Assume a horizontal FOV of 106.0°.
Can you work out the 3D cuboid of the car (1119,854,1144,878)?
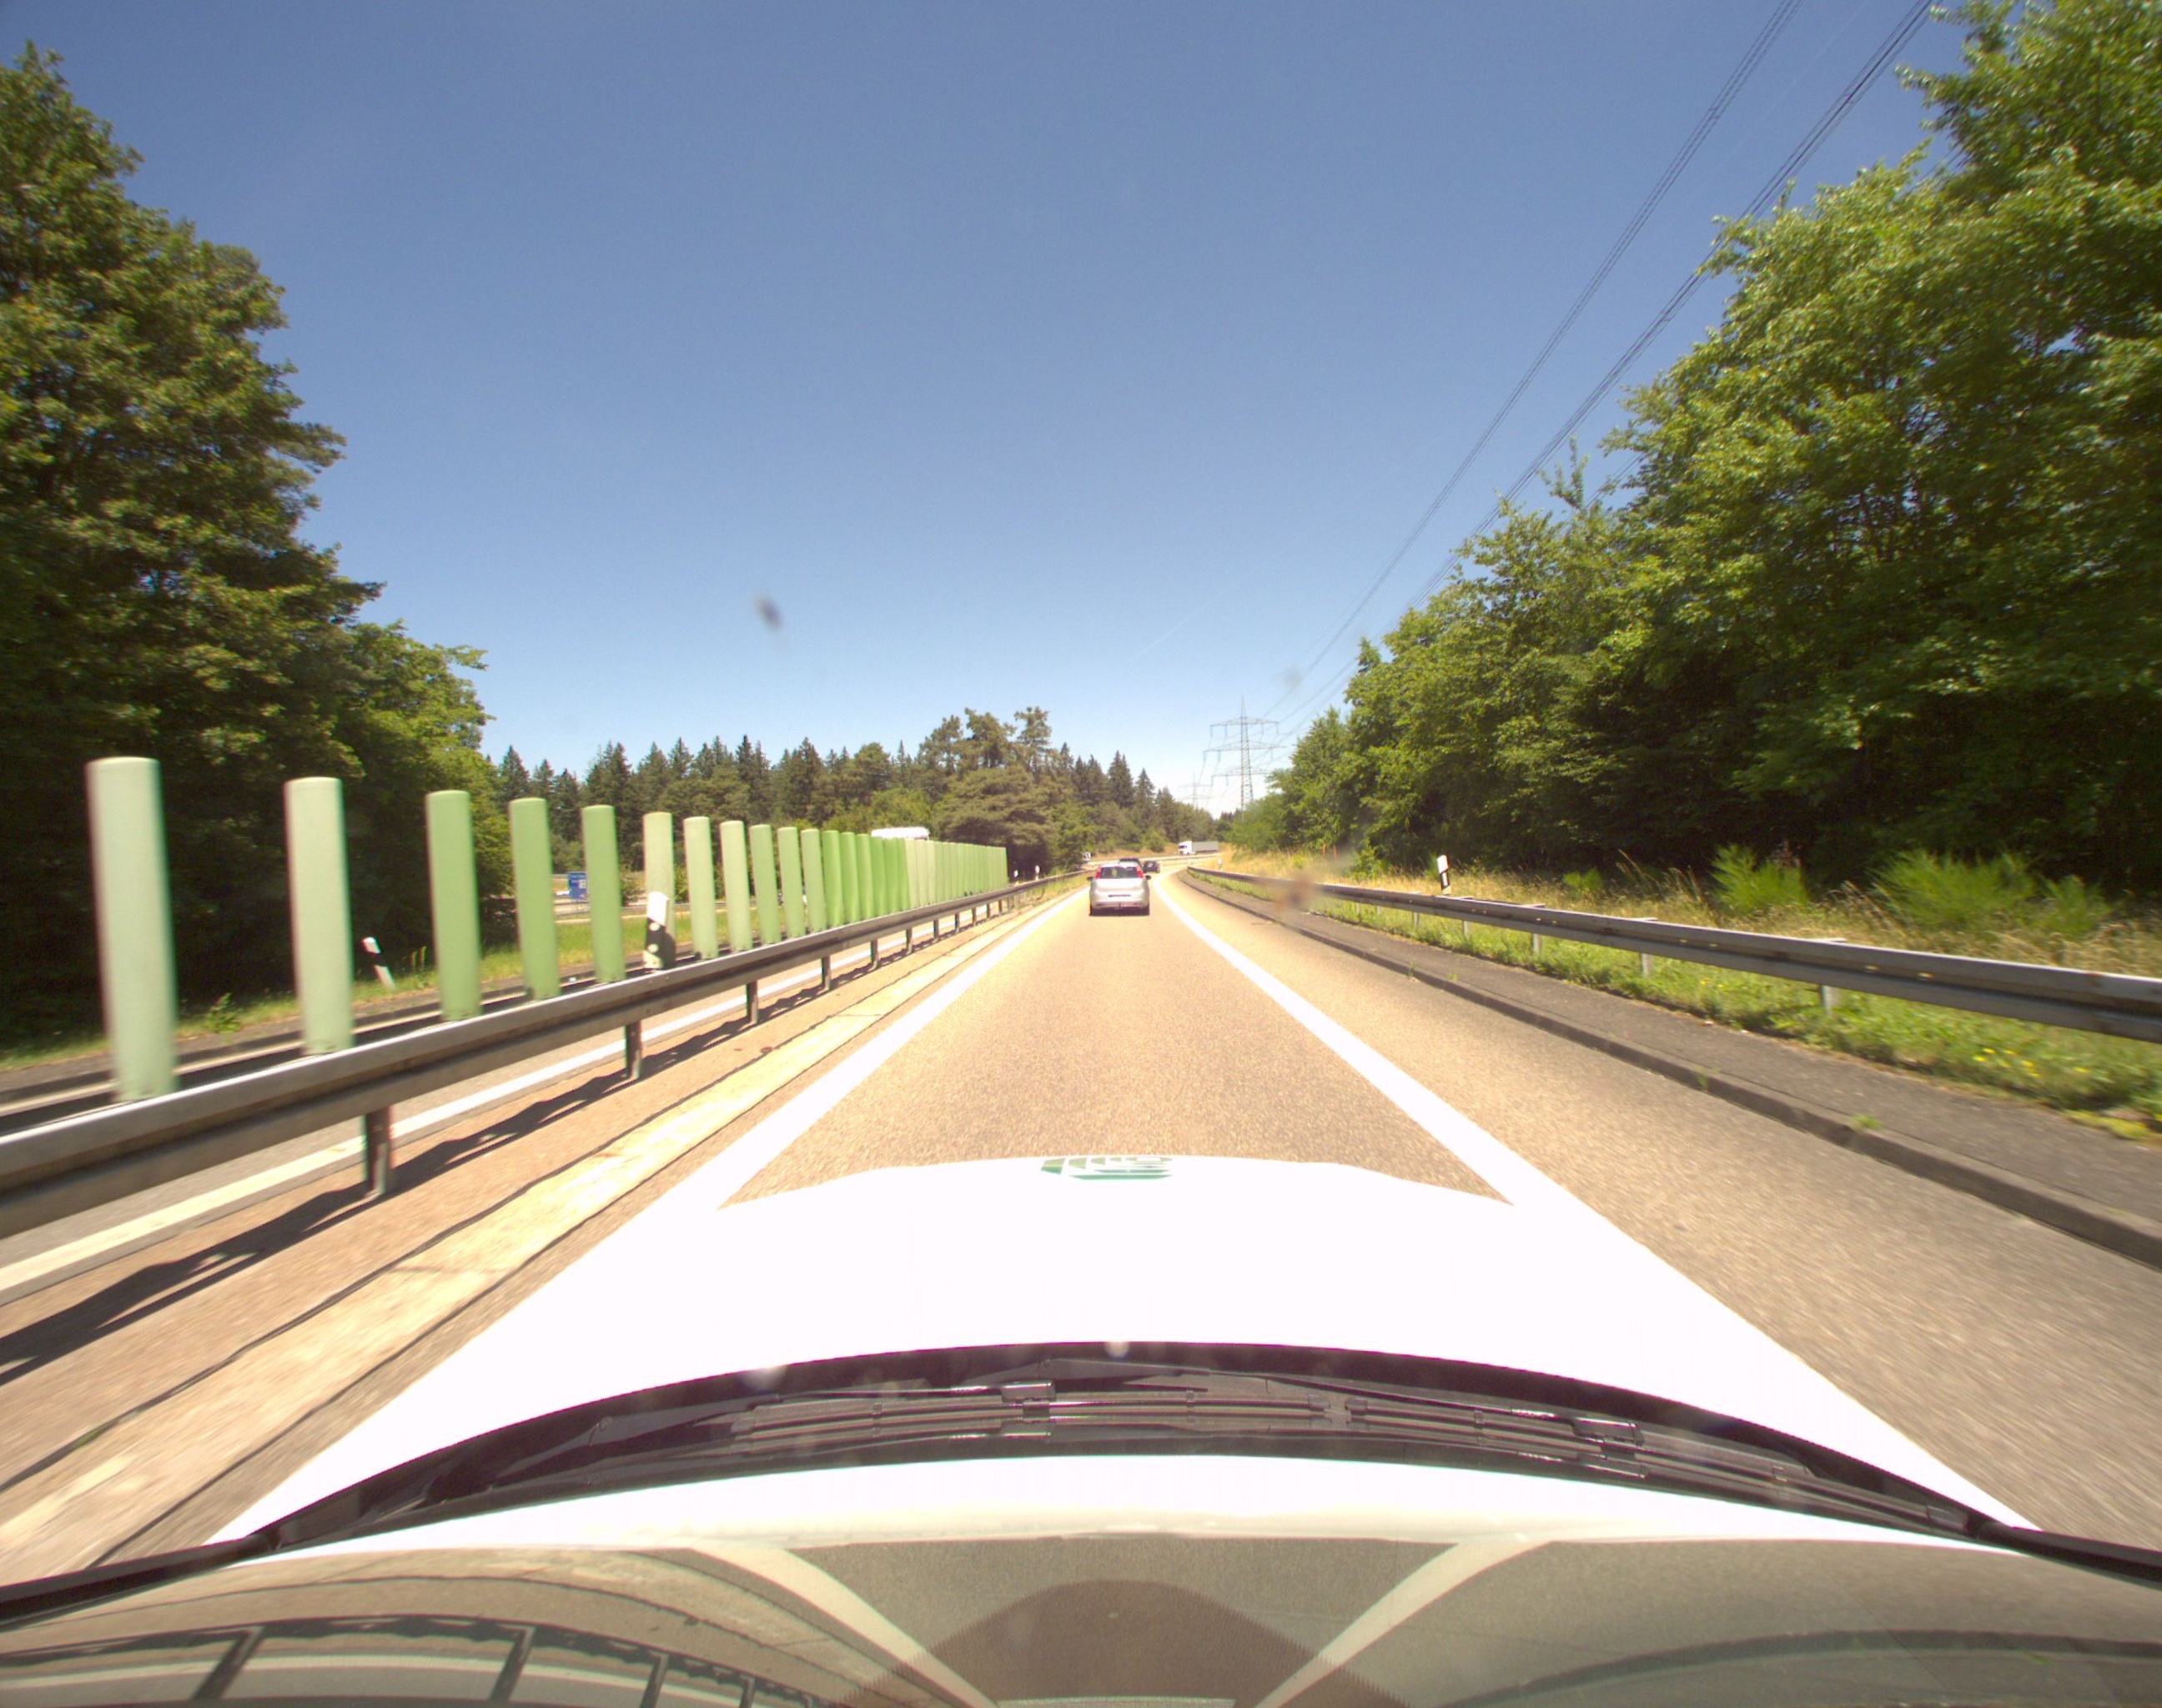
[{"bbox_3d":[3.821,0.899,61.025,1.698,1.676,3.402,-1,0,5],"label":"car"}]

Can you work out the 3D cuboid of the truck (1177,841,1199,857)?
[{"bbox_3d":[31.284,-1.519,237.314,2.911,4.392,6.309,-4,-1,45],"label":"truck"}]

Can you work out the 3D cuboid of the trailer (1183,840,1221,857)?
[{"bbox_3d":[36.136,-1.700,242.165,14.382,4.387,2.897,-3,-1,-45],"label":"trailer"}]

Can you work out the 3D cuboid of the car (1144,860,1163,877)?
[{"bbox_3d":[8.317,1.658,93.031,1.871,1.684,4.009,-4,-1,8],"label":"car"}]

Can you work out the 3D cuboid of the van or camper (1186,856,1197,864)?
[{"bbox_3d":[21.990,1.197,161.807,1.795,1.486,4.013,-2,0,11],"label":"van or camper"}]

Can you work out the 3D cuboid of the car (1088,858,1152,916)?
[{"bbox_3d":[1.087,0.896,23.538,1.700,1.482,3.398,-1,0,1],"label":"car"}]
